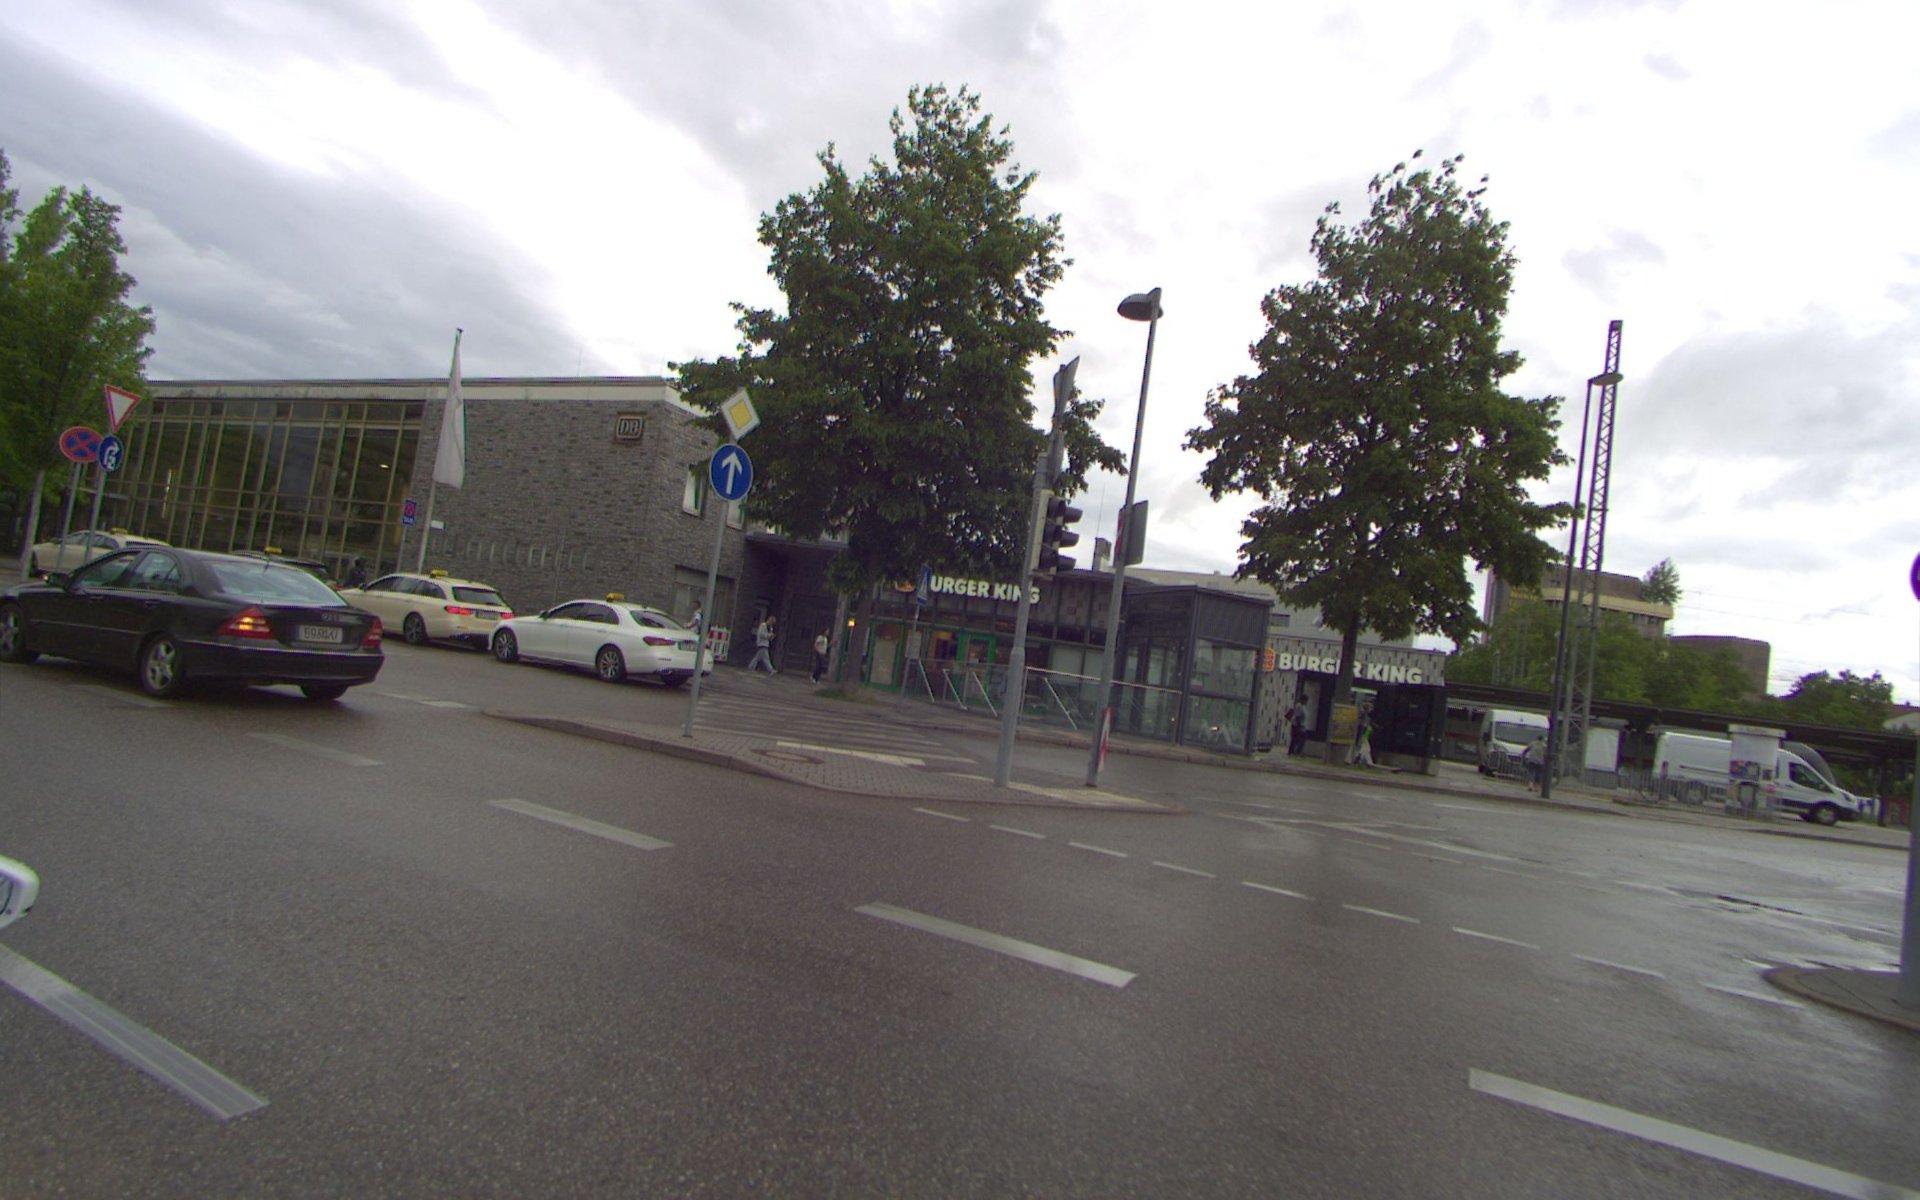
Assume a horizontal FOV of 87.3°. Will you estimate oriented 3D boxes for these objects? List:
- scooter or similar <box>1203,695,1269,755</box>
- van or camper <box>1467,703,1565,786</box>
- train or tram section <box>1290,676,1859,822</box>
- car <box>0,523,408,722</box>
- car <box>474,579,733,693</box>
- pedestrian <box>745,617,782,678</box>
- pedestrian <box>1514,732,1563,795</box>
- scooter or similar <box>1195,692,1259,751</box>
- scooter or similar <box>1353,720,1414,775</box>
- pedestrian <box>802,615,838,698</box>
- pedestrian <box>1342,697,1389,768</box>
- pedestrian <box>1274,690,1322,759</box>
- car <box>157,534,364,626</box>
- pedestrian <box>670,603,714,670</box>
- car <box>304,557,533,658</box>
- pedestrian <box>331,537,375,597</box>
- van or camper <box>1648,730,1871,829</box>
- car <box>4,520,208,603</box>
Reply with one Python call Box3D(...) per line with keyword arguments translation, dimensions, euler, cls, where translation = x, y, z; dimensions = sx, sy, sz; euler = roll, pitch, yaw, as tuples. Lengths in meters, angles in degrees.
Box3D(translation=(6.209, 2.807, 22.641), dimensions=(1.281, 1.196, 0.333), euler=(7, -1, -6), cls="scooter or similar")
Box3D(translation=(20.476, 5.235, 37.335), dimensions=(2.125, 2.461, 5.868), euler=(6, -2, 21), cls="van or camper")
Box3D(translation=(35.891, 8.624, 62.192), dimensions=(28.799, 4.230, 4.603), euler=(6, -2, 28), cls="train or tram section")
Box3D(translation=(-8.043, 0.172, 10.289), dimensions=(4.370, 1.482, 1.701), euler=(6, -2, 22), cls="car")
Box3D(translation=(-7.005, 0.683, 19.642), dimensions=(4.818, 1.618, 1.885), euler=(6, -2, 28), cls="car")
Box3D(translation=(-5.471, 1.323, 28.023), dimensions=(0.701, 1.598, 0.767), euler=(7, -1, -24), cls="pedestrian")
Box3D(translation=(15.923, 4.499, 27.723), dimensions=(0.825, 1.547, 0.638), euler=(7, -1, -2), cls="pedestrian")
Box3D(translation=(6.164, 2.815, 23.241), dimensions=(1.281, 1.196, 0.333), euler=(7, -1, -6), cls="scooter or similar")
Box3D(translation=(10.506, 3.660, 24.975), dimensions=(1.281, 1.196, 0.333), euler=(7, -1, -6), cls="scooter or similar")
Box3D(translation=(-3.864, 1.549, 27.816), dimensions=(0.710, 2.190, 0.797), euler=(6, -1, -3), cls="pedestrian")
Box3D(translation=(10.420, 3.401, 25.843), dimensions=(0.786, 1.687, 0.720), euler=(6, -1, 38), cls="pedestrian")
Box3D(translation=(8.988, 3.294, 26.738), dimensions=(0.713, 1.687, 0.793), euler=(7, -1, -24), cls="pedestrian")
Box3D(translation=(-17.444, -0.502, 25.068), dimensions=(4.871, 1.617, 2.001), euler=(6, -3, 27), cls="car")
Box3D(translation=(-7.160, 0.995, 26.927), dimensions=(0.762, 1.686, 0.647), euler=(7, -1, 6), cls="pedestrian")
Box3D(translation=(-12.093, 0.152, 22.401), dimensions=(4.872, 1.618, 1.999), euler=(6, -2, 28), cls="car")
Box3D(translation=(-17.839, -0.966, 29.584), dimensions=(0.785, 1.645, 0.720), euler=(7, -1, -17), cls="pedestrian")
Box3D(translation=(28.385, 6.319, 36.012), dimensions=(5.762, 2.462, 1.999), euler=(6, -2, 28), cls="van or camper")
Box3D(translation=(-23.422, -1.055, 27.596), dimensions=(4.866, 1.618, 2.001), euler=(7, -2, 20), cls="car")
